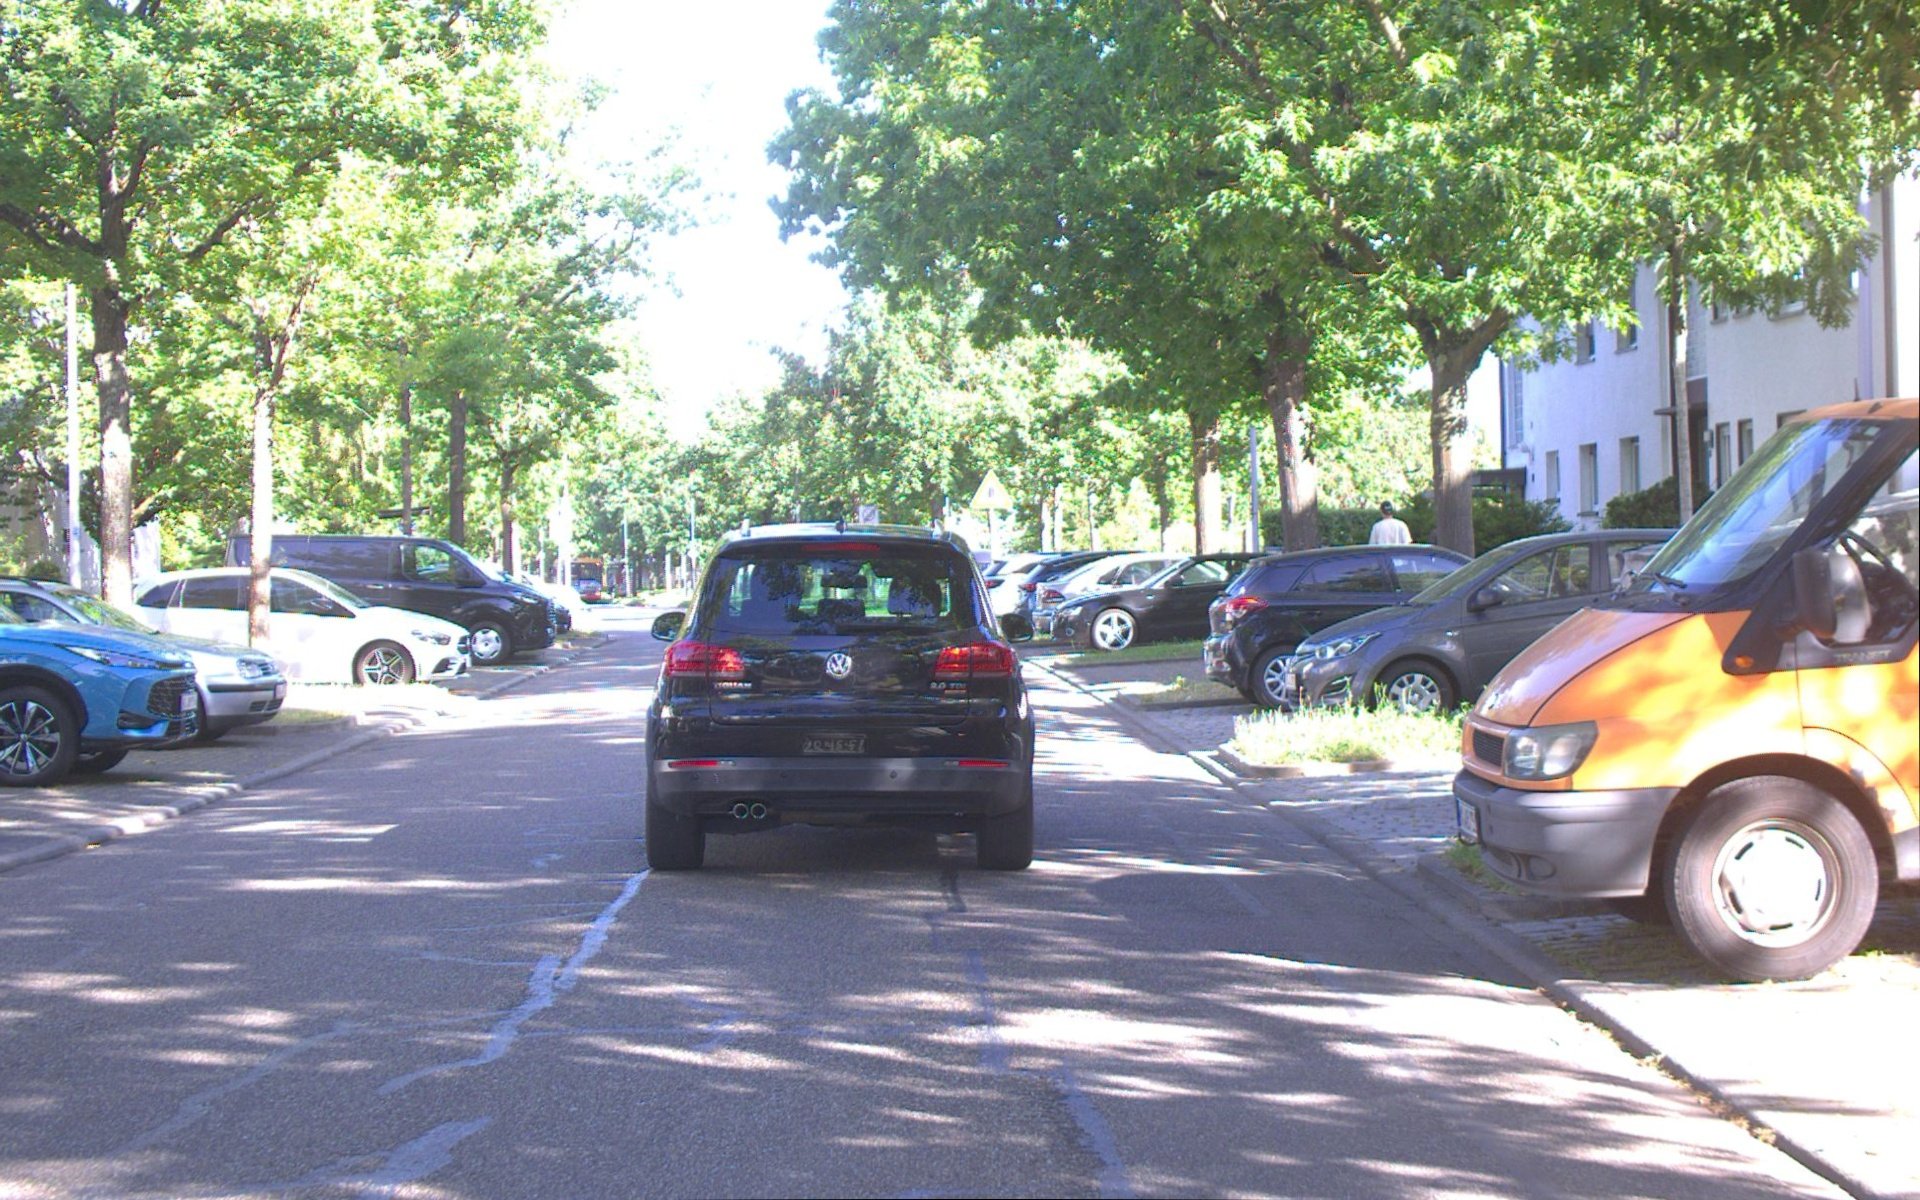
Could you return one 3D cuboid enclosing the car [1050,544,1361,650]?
[{"bbox_3d":[3.563,-0.049,50.485,4.345,1.358,1.874,-2,0,-2],"label":"car"}]

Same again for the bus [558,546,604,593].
[{"bbox_3d":[-25.293,-1.991,229.443,2.928,2.993,5.738,-2,0,-6],"label":"bus"}]

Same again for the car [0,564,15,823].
[{"bbox_3d":[-7.895,0.625,20.496,3.987,1.590,1.857,-2,0,0],"label":"car"}]

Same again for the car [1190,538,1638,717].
[{"bbox_3d":[4.149,0.246,31.838,3.882,1.511,1.661,-2,0,0],"label":"car"}]

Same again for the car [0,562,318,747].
[{"bbox_3d":[-7.817,0.483,29.751,4.182,1.487,1.647,-2,0,0],"label":"car"}]

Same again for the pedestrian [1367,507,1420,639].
[{"bbox_3d":[6.235,-0.379,49.467,0.608,1.867,0.924,-2,0,0],"label":"pedestrian"}]

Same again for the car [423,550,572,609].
[{"bbox_3d":[-13.524,-0.597,100.653,4.241,1.617,1.897,-1,0,-6],"label":"car"}]

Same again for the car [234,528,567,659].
[{"bbox_3d":[-8.424,-0.121,52.099,4.778,1.910,2.019,0,1,-3],"label":"car"}]

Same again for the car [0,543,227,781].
[{"bbox_3d":[-7.809,0.478,24.977,4.524,1.625,1.937,-2,0,0],"label":"car"}]

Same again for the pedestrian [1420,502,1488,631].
[{"bbox_3d":[7.110,-0.483,49.484,0.835,1.822,0.710,-2,0,0],"label":"pedestrian"}]

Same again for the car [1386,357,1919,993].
[{"bbox_3d":[4.148,0.164,12.611,4.818,2.076,2.086,-2,1,0],"label":"car"}]

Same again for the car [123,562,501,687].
[{"bbox_3d":[-7.801,0.279,41.650,4.275,1.473,1.769,0,1,-1],"label":"car"}]

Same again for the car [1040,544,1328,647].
[{"bbox_3d":[3.440,-0.084,53.286,4.276,1.409,1.797,-2,1,-1],"label":"car"}]

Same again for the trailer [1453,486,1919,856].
[{"bbox_3d":[4.176,0.306,17.332,2.945,1.658,1.615,-3,0,-6],"label":"trailer"}]

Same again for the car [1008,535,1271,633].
[{"bbox_3d":[3.006,-0.284,58.239,4.276,1.498,1.797,-2,1,-1],"label":"car"}]

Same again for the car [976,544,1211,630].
[{"bbox_3d":[2.564,-0.261,66.955,4.428,1.486,1.797,-2,1,-1],"label":"car"}]

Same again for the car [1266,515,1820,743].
[{"bbox_3d":[4.494,0.218,26.917,3.987,1.618,1.757,-2,0,0],"label":"car"}]

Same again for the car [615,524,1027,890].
[{"bbox_3d":[-0.590,0.459,17.443,1.838,1.631,3.958,-1,1,1],"label":"car"}]

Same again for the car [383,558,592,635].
[{"bbox_3d":[-9.196,-0.086,67.042,3.857,1.454,1.713,0,1,-1],"label":"car"}]
